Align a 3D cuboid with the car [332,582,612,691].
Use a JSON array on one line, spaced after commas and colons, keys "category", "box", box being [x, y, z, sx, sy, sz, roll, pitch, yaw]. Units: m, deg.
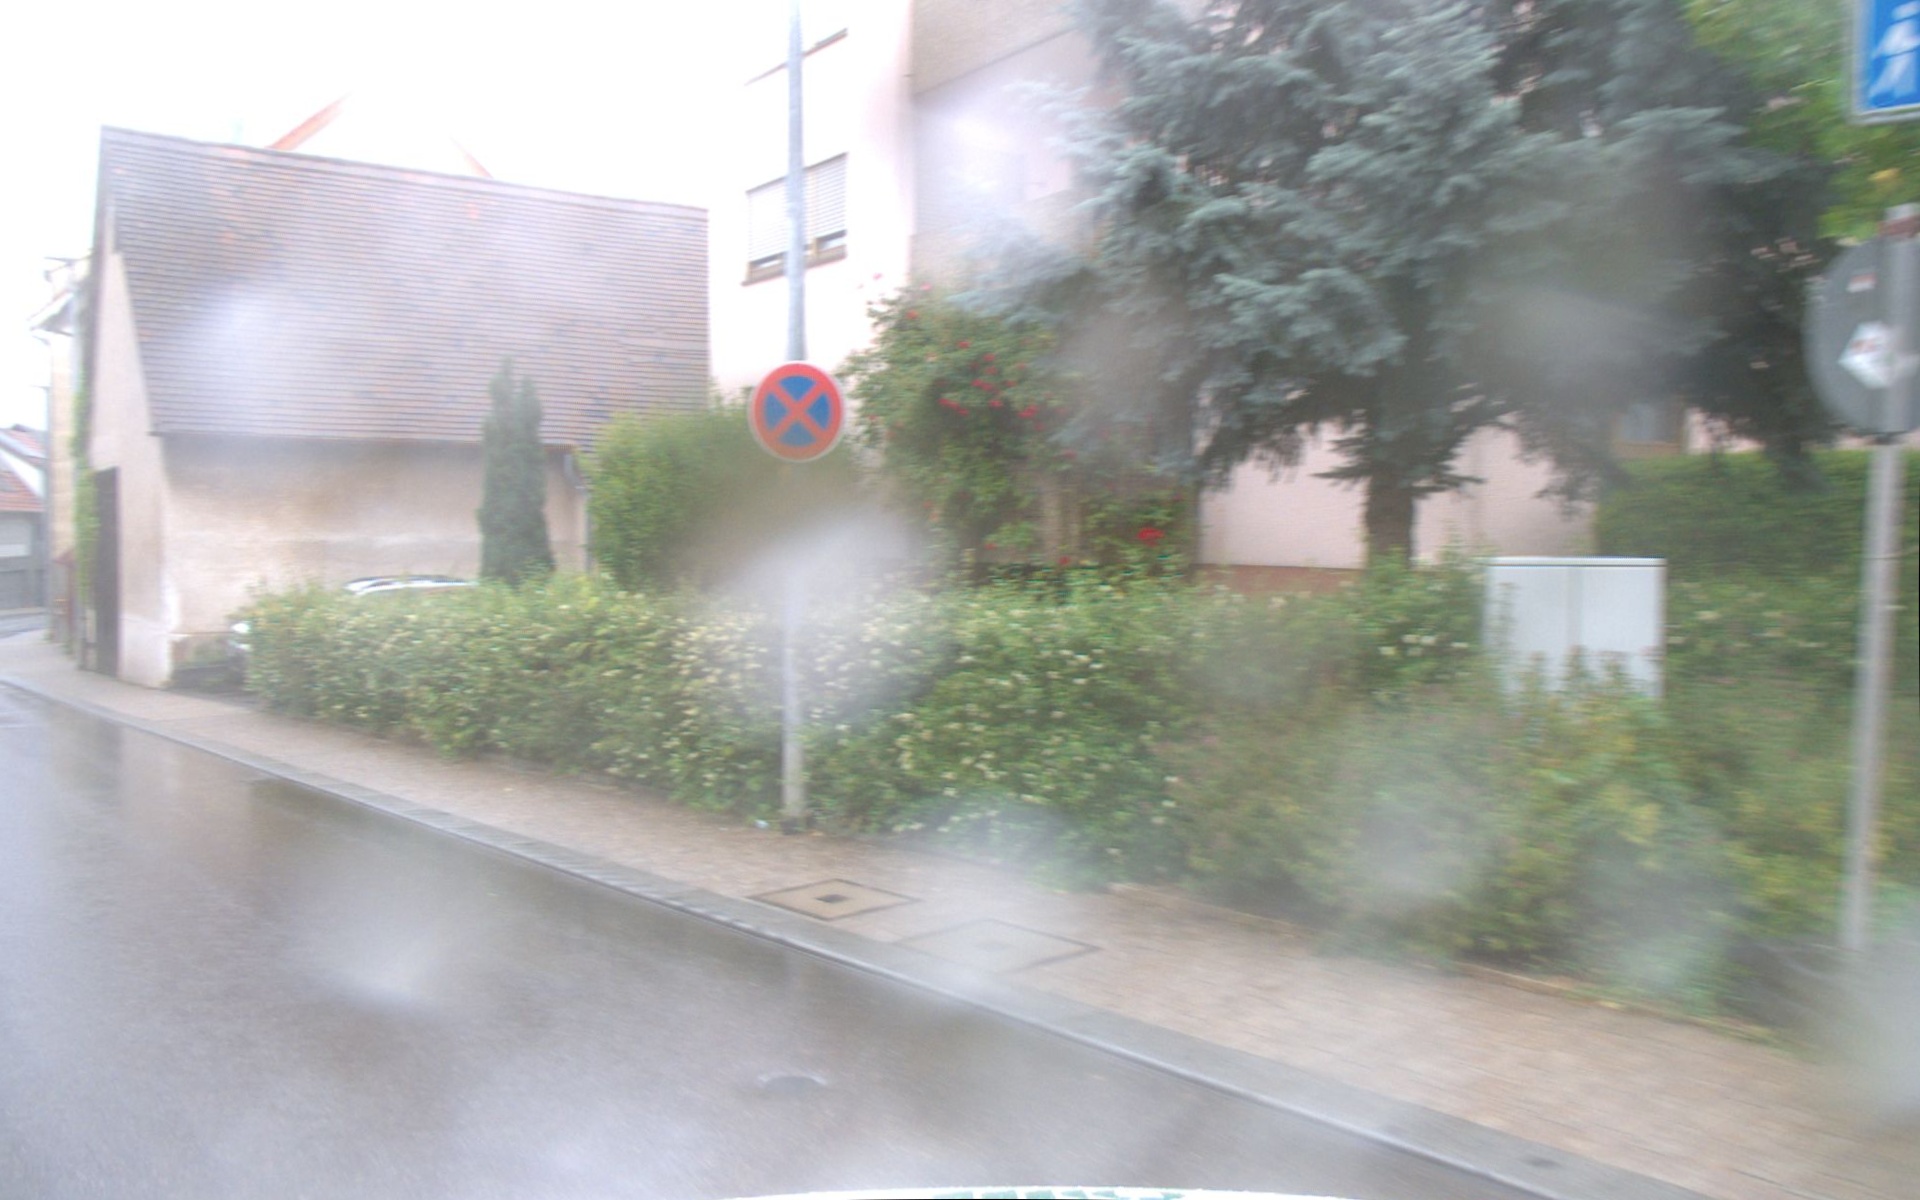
[{"category": "car", "box": [-8.214, 0.555, 27.969, 4.183, 1.678, 1.879, -1, 1, -36]}]
